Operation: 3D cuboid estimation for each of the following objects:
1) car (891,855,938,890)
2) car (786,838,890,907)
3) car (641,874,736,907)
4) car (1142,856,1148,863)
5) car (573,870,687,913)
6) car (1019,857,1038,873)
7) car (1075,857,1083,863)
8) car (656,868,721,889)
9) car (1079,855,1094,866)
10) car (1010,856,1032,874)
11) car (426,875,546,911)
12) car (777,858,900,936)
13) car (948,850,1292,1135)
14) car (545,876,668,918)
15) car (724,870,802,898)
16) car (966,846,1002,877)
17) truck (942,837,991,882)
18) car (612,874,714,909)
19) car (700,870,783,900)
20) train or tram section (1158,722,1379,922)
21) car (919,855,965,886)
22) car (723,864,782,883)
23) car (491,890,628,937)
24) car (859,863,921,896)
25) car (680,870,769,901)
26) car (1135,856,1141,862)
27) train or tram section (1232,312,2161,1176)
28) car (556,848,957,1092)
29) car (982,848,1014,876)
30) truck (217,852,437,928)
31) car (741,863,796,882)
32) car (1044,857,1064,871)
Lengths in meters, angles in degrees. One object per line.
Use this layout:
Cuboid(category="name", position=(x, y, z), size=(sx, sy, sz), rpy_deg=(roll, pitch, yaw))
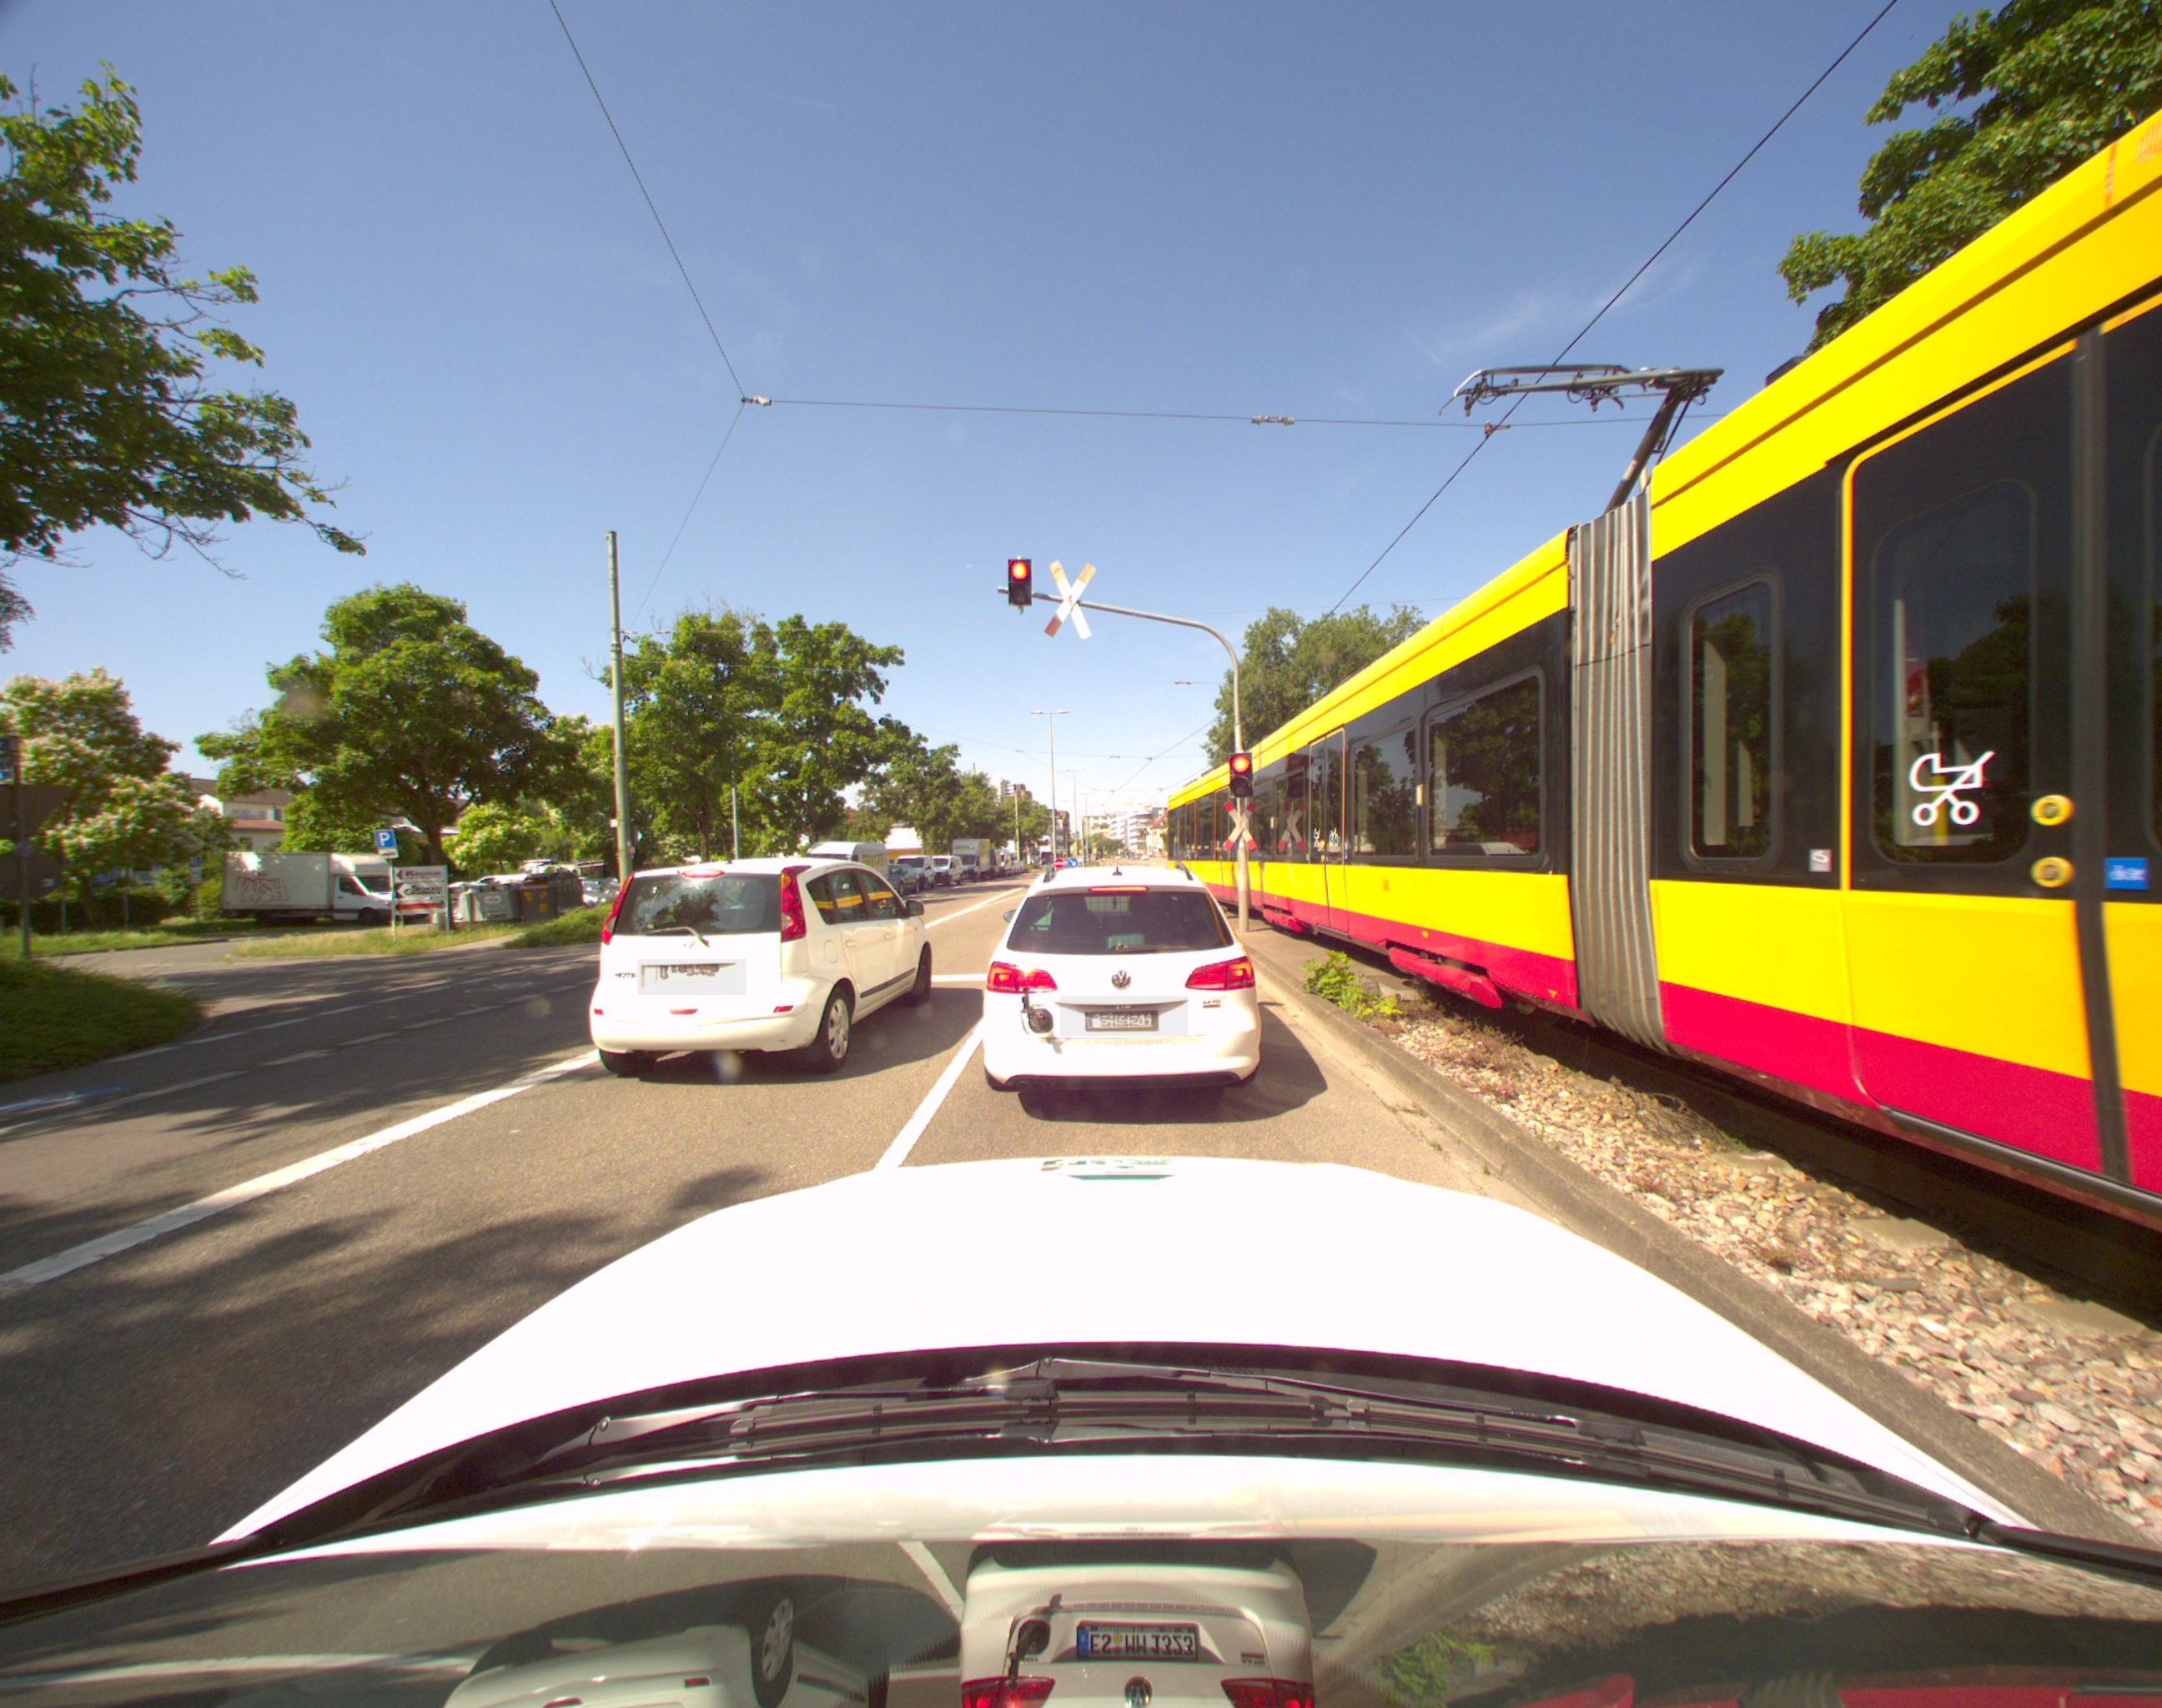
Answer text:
Cuboid(category="car", position=(-9.258, 0.990, 45.680), size=(1.859, 1.868, 5.068), rpy_deg=(0, 0, -3))
Cuboid(category="car", position=(-9.562, 0.684, 32.673), size=(2.114, 2.516, 5.822), rpy_deg=(0, 0, 3))
Cuboid(category="car", position=(-20.301, 1.874, 42.268), size=(3.977, 1.415, 1.729), rpy_deg=(-4, -1, -3))
Cuboid(category="car", position=(17.282, 1.416, 219.577), size=(1.602, 1.863, 3.732), rpy_deg=(0, -1, 2))
Cuboid(category="car", position=(-19.897, 1.630, 36.071), size=(3.977, 1.610, 1.729), rpy_deg=(-4, -1, -3))
Cuboid(category="car", position=(-6.346, 1.356, 98.937), size=(1.856, 1.868, 5.415), rpy_deg=(0, 0, 2))
Cuboid(category="car", position=(-0.459, 1.547, 208.283), size=(1.698, 1.473, 4.593), rpy_deg=(-3, 0, 3))
Cuboid(category="car", position=(-35.162, 2.205, 72.983), size=(4.780, 1.787, 2.062), rpy_deg=(0, -1, -3))
Cuboid(category="car", position=(0.790, 0.868, 112.980), size=(1.698, 1.473, 4.593), rpy_deg=(-3, 0, 3))
Cuboid(category="car", position=(-6.731, 1.228, 92.025), size=(1.856, 1.868, 5.415), rpy_deg=(0, 0, 2))
Cuboid(category="car", position=(-31.746, 2.054, 43.573), size=(4.780, 1.787, 2.062), rpy_deg=(0, -1, -3))
Cuboid(category="car", position=(-5.596, 0.925, 19.265), size=(1.670, 1.553, 3.580), rpy_deg=(-4, 0, 1))
Cuboid(category="car", position=(0.271, 0.734, 6.311), size=(1.756, 1.430, 4.002), rpy_deg=(-3, 0, 2))
Cuboid(category="car", position=(-19.647, 1.770, 33.826), size=(3.977, 1.415, 1.729), rpy_deg=(-4, -1, -3))
Cuboid(category="car", position=(-19.436, 1.823, 49.884), size=(3.977, 1.415, 1.729), rpy_deg=(-4, -1, -3))
Cuboid(category="car", position=(-8.114, 0.616, 68.687), size=(2.114, 2.516, 5.737), rpy_deg=(0, 0, 2))
Cuboid(category="truck", position=(-8.426, 0.412, 60.690), size=(2.411, 3.150, 7.001), rpy_deg=(0, 0, 3))
Cuboid(category="car", position=(-20.274, 1.807, 39.607), size=(3.977, 1.415, 1.729), rpy_deg=(-4, -1, -3))
Cuboid(category="car", position=(-19.584, 1.769, 47.067), size=(3.977, 1.415, 1.729), rpy_deg=(-4, -1, -3))
Cuboid(category="train or tram section", position=(4.238, -0.632, 21.458), size=(2.863, 3.855, 10.529), rpy_deg=(-3, 0, -2))
Cuboid(category="car", position=(-8.844, 1.011, 52.267), size=(1.856, 1.868, 5.415), rpy_deg=(0, 0, 2))
Cuboid(category="car", position=(-31.434, 1.827, 77.951), size=(4.780, 1.787, 2.062), rpy_deg=(0, -1, -3))
Cuboid(category="car", position=(-19.881, 2.236, 31.170), size=(3.977, 1.415, 1.729), rpy_deg=(-4, -1, -3))
Cuboid(category="car", position=(-9.093, 1.179, 39.136), size=(1.856, 1.415, 4.281), rpy_deg=(0, 0, 1))
Cuboid(category="car", position=(-19.514, 1.724, 44.692), size=(3.977, 1.415, 1.729), rpy_deg=(-4, -1, -3))
Cuboid(category="car", position=(18.333, 1.590, 261.608), size=(1.668, 1.863, 3.732), rpy_deg=(0, -1, 2))
Cuboid(category="train or tram section", position=(4.307, -0.520, 9.924), size=(2.860, 3.855, 12.396), rpy_deg=(-3, 0, 2))
Cuboid(category="car", position=(-2.452, 0.750, 7.537), size=(1.655, 1.547, 4.550), rpy_deg=(-1, 0, 3))
Cuboid(category="car", position=(-7.735, 0.677, 76.119), size=(2.114, 2.516, 5.737), rpy_deg=(0, 0, 2))
Cuboid(category="truck", position=(-32.405, 1.503, 35.216), size=(6.978, 3.110, 2.677), rpy_deg=(0, 0, 0))
Cuboid(category="car", position=(-31.734, 1.869, 82.787), size=(4.780, 1.787, 2.062), rpy_deg=(0, -1, -3))
Cuboid(category="car", position=(-2.963, 1.074, 89.134), size=(1.698, 1.473, 4.593), rpy_deg=(-3, 0, 3))
